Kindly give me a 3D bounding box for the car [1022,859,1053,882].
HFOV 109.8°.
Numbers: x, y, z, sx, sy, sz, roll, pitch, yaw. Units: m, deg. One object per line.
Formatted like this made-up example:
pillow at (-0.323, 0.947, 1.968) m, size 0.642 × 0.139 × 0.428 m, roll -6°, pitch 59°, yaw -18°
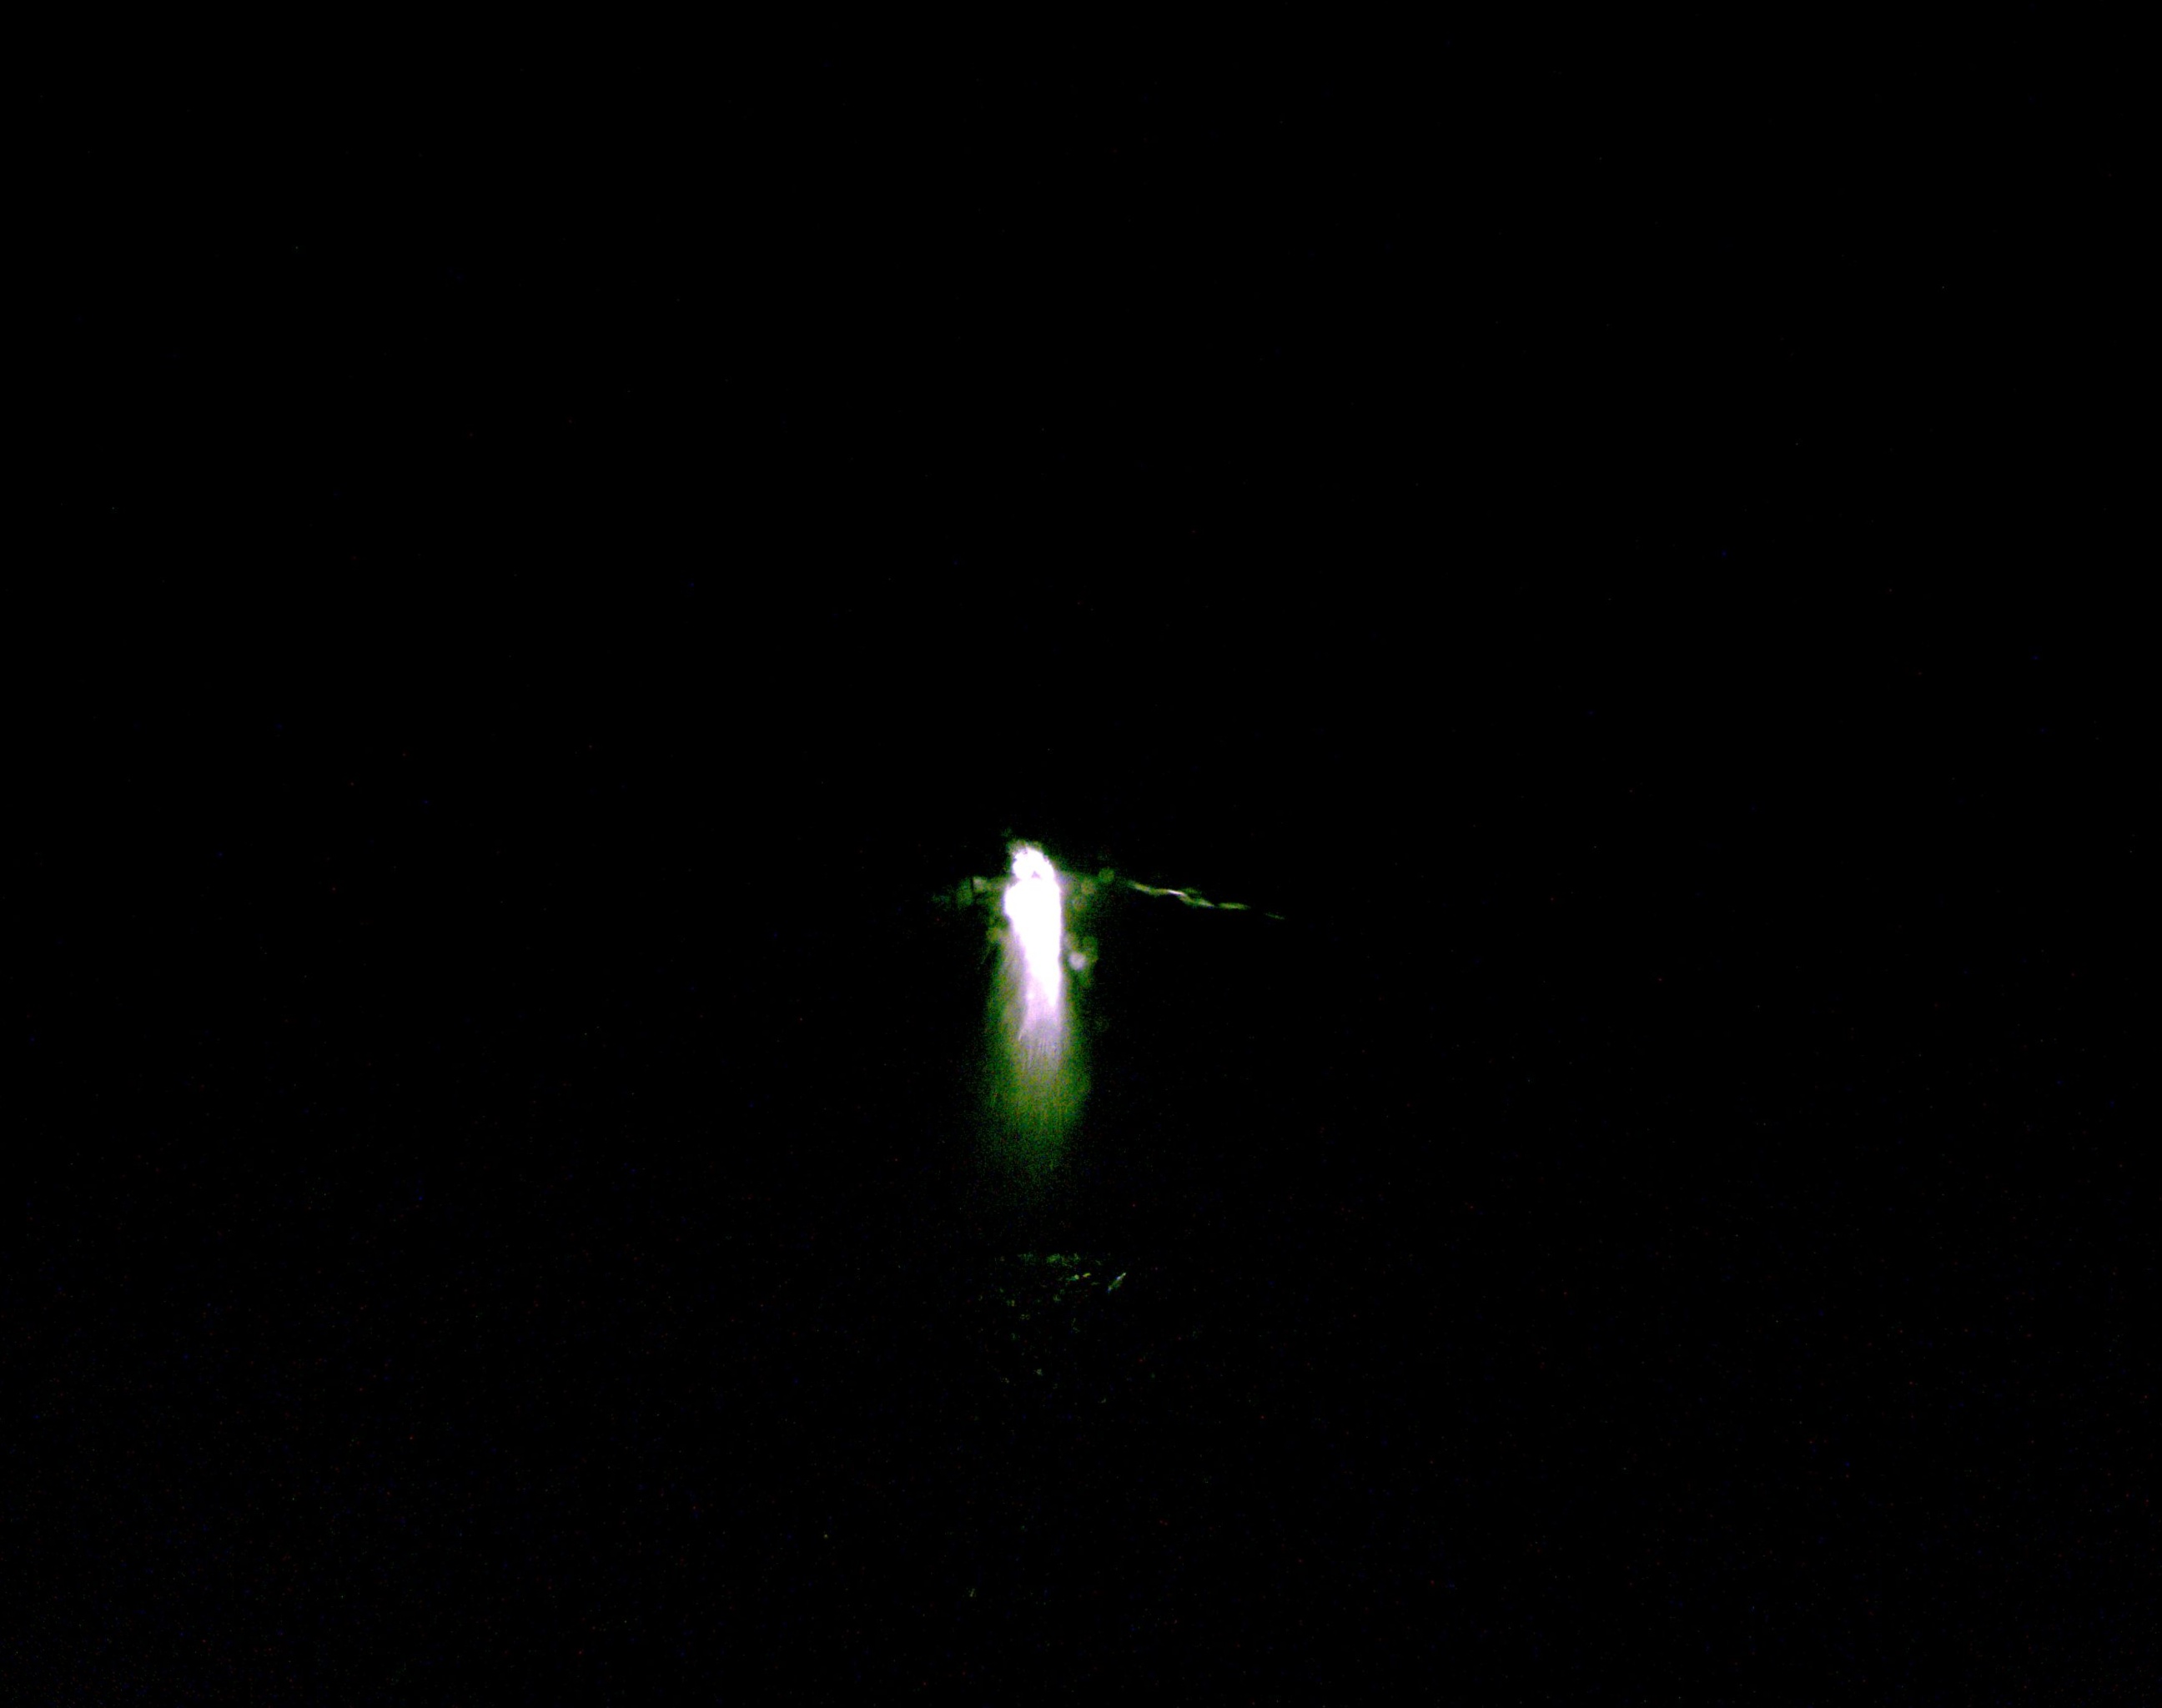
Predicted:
car at (-2.949, 1.107, 52.646) m, size 1.999 × 1.412 × 3.999 m, roll -1°, pitch 1°, yaw -2°
